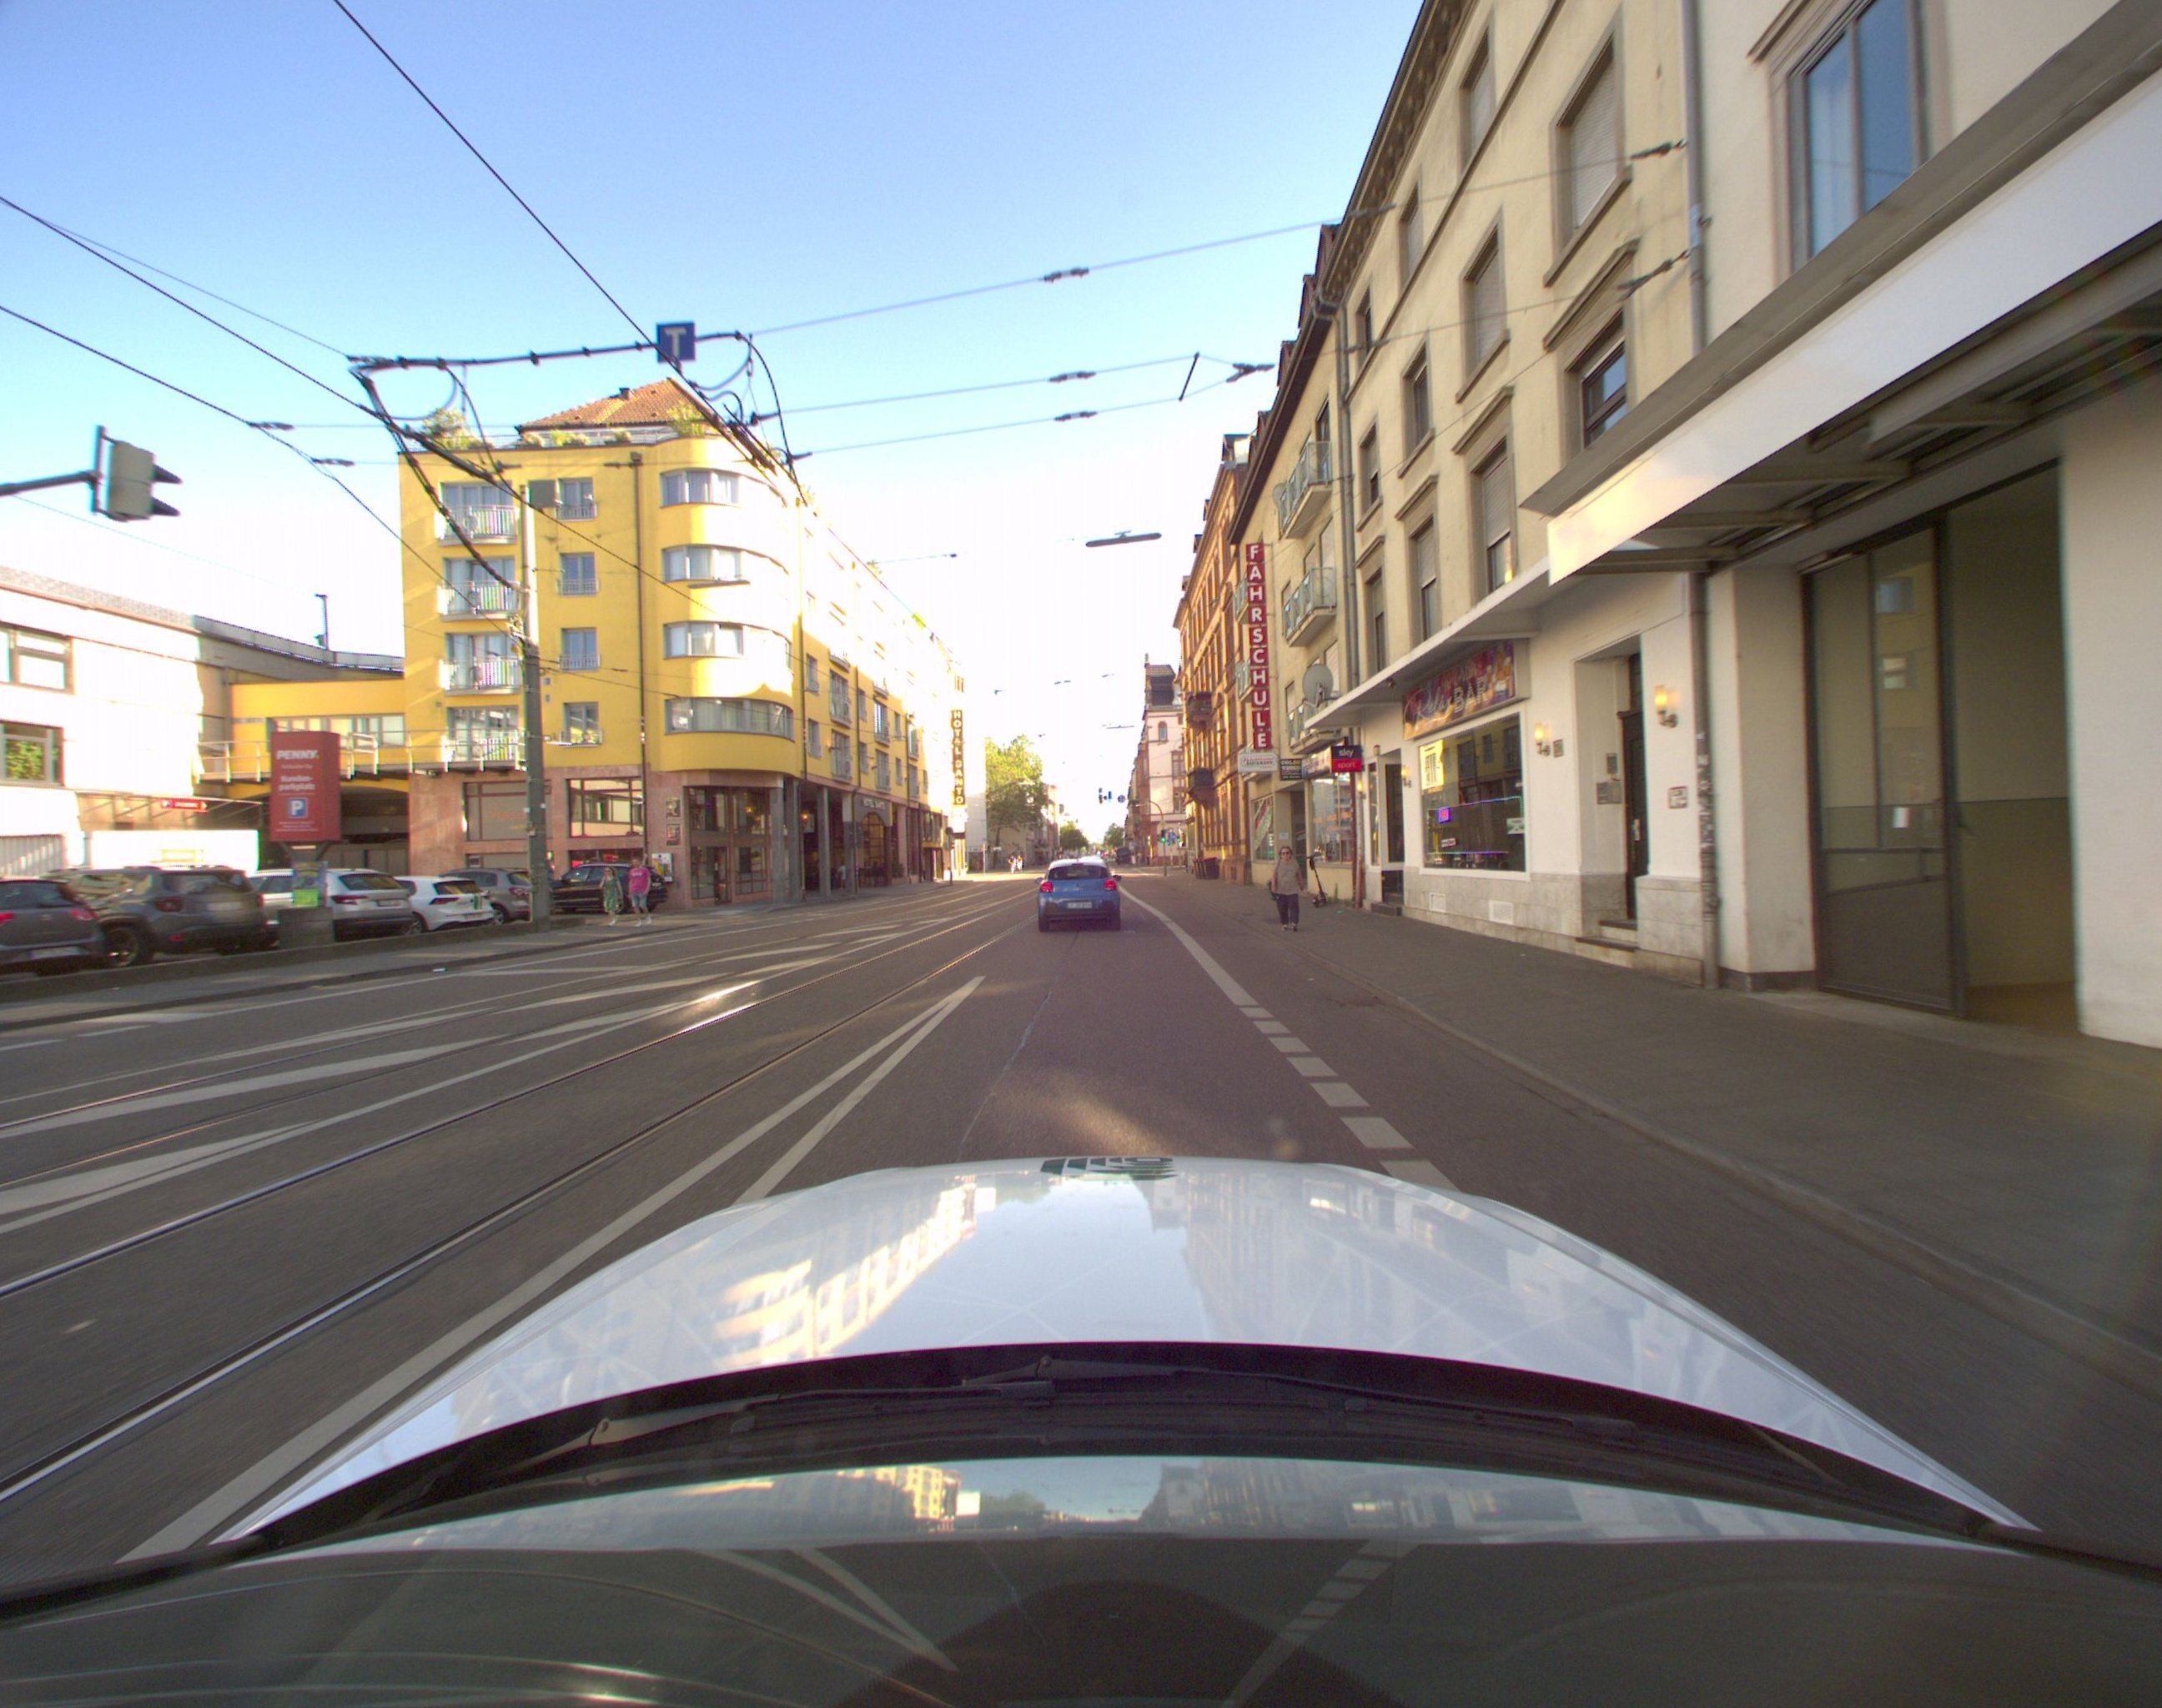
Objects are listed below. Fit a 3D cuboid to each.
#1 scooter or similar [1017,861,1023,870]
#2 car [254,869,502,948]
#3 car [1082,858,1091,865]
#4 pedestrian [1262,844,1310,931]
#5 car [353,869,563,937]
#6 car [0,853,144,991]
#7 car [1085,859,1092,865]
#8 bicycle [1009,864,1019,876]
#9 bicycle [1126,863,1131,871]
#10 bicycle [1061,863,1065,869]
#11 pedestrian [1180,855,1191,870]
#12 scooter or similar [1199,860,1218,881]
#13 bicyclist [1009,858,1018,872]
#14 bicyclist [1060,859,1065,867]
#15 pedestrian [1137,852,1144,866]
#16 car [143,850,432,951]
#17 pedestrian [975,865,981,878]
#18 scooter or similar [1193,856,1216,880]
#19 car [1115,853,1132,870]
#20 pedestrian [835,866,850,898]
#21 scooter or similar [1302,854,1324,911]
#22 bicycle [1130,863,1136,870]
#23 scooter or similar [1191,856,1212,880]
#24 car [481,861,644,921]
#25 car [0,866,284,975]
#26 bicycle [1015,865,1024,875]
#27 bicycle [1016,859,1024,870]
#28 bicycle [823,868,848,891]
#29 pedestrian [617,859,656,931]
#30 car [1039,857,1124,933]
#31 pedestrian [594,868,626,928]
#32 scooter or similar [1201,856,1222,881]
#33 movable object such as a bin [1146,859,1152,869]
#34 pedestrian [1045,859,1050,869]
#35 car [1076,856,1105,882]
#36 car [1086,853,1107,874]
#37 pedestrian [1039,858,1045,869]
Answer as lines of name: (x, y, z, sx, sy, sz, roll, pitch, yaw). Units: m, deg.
scooter or similar: (-9.159, 1.723, 123.095, 0.785, 1.272, 1.075, -2, 0, 1)
car: (-16.290, 1.234, 19.012, 4.218, 1.609, 1.786, -2, 0, 1)
car: (1.279, 1.708, 179.167, 1.979, 1.502, 4.308, -2, 0, 1)
pedestrian: (3.776, 0.603, 15.041, 0.646, 1.560, 0.781, -2, -1, 0)
car: (-16.507, 1.294, 21.717, 4.218, 1.548, 1.785, -2, -3, 1)
car: (-16.261, 0.960, 11.403, 4.218, 1.812, 1.786, -2, 0, 1)
car: (1.985, 2.119, 218.828, 1.987, 1.744, 4.562, -2, -1, 0)
bicycle: (-6.555, 1.566, 79.658, 0.728, 1.088, 2.061, -2, 0, 0)
bicycle: (5.984, 1.656, 102.581, 0.430, 0.947, 1.760, -1, 0, -6)
bicycle: (-3.317, 2.208, 148.068, 0.690, 1.120, 2.084, -1, 0, 1)
pedestrian: (10.402, 0.859, 81.131, 0.934, 1.457, 0.823, -1, -1, 3)
scooter or similar: (6.421, 0.816, 41.053, 0.788, 0.957, 0.680, -6, -1, -1)
bicyclist: (-6.576, 1.080, 79.597, 0.722, 1.381, 1.227, -1, 0, 0)
bicyclist: (-3.352, 1.684, 148.023, 0.680, 1.483, 0.778, -2, -1, 0)
pedestrian: (7.438, 0.624, 101.863, 0.703, 1.782, 0.673, -2, -1, 0)
car: (-16.240, 0.947, 16.821, 4.218, 1.812, 1.785, -2, -3, 1)
pedestrian: (-12.067, 2.059, 95.322, 0.541, 1.552, 0.516, -1, -1, 0)
scooter or similar: (6.328, 0.704, 41.747, 0.930, 1.148, 0.650, -6, -1, -1)
car: (6.401, 1.126, 123.074, 2.263, 2.437, 5.721, -2, -1, 1)
pedestrian: (-13.375, 1.545, 45.746, 0.558, 1.770, 0.724, -1, -1, 6)
scooter or similar: (5.435, 0.641, 19.059, 0.407, 1.281, 1.289, -2, 0, 18)
bicycle: (6.539, 1.557, 102.677, 0.430, 0.947, 1.760, -1, -1, -6)
scooter or similar: (6.352, 0.727, 42.894, 0.894, 1.148, 0.547, -6, -1, -1)
car: (-17.073, 1.188, 26.951, 4.218, 1.812, 1.786, -2, 0, 1)
car: (-16.372, 1.090, 13.959, 3.675, 1.672, 1.786, -1, -1, 1)
bicycle: (-6.644, 1.760, 87.968, 0.728, 1.065, 2.061, -1, -1, 0)
bicycle: (-6.726, 1.204, 90.283, 0.728, 1.183, 2.061, -2, 0, 0)
bicycle: (-13.912, 1.435, 46.244, 0.578, 1.203, 2.084, -2, 0, 6)
pedestrian: (-12.244, 1.118, 22.459, 0.635, 1.946, 0.709, -2, -1, 0)
car: (-0.017, 0.830, 18.127, 1.669, 1.477, 3.998, 0, 0, -1)
pedestrian: (-13.102, 1.213, 22.654, 0.570, 1.617, 0.499, -2, -1, 0)
scooter or similar: (6.428, 0.696, 40.233, 0.788, 1.148, 0.790, -6, -1, 0)
movable object such as a bin: (8.060, 1.160, 96.826, 0.663, 1.153, 0.595, -2, -1, 2)
pedestrian: (-5.768, 1.736, 139.055, 0.708, 1.764, 0.570, -2, -1, 0)
car: (0.584, 0.904, 49.862, 1.661, 1.478, 4.000, -2, 0, 0)
car: (1.543, 0.972, 81.516, 1.987, 2.014, 4.000, -2, -1, 0)
pedestrian: (-6.308, 1.549, 130.519, 0.678, 1.765, 1.029, -2, -1, 12)
